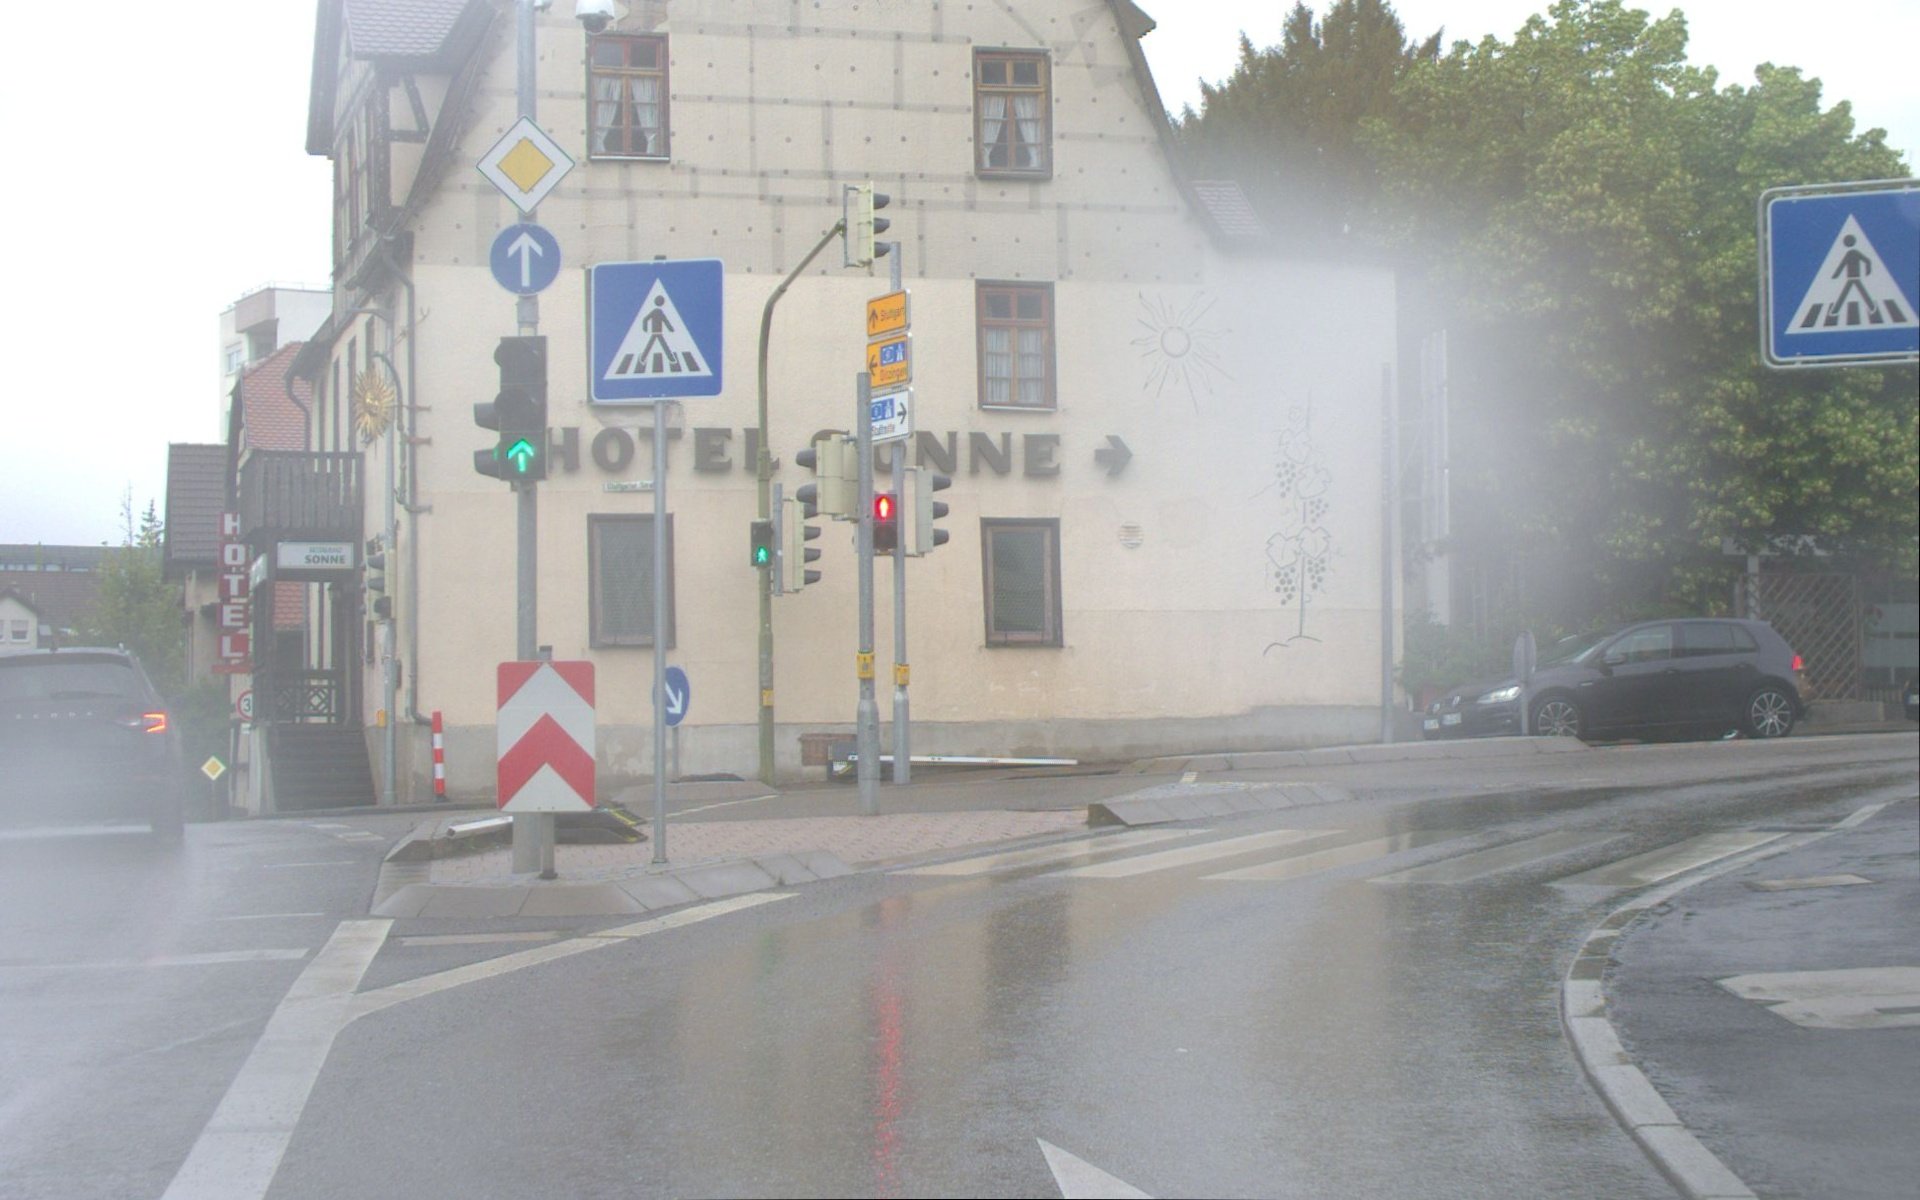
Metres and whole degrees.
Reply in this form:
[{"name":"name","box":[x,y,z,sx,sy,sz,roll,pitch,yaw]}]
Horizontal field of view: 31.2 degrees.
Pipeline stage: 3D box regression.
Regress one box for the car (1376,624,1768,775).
[{"name":"car","box":[7.315,1.197,41.196,4.171,1.514,1.779,-3,-4,-17]}]

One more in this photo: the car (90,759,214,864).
[{"name":"car","box":[-14.012,3.643,59.808,1.886,1.462,4.001,-2,1,-11]}]

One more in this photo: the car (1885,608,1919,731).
[{"name":"car","box":[14.161,0.767,43.839,4.171,1.514,1.779,-3,-4,-17]}]

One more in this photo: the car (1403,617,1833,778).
[{"name":"car","box":[7.335,1.095,38.384,4.301,1.500,1.779,-2,-4,-19]}]

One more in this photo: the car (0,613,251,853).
[{"name":"car","box":[-6.628,0.946,26.444,1.944,1.561,4.418,0,1,-7]}]
